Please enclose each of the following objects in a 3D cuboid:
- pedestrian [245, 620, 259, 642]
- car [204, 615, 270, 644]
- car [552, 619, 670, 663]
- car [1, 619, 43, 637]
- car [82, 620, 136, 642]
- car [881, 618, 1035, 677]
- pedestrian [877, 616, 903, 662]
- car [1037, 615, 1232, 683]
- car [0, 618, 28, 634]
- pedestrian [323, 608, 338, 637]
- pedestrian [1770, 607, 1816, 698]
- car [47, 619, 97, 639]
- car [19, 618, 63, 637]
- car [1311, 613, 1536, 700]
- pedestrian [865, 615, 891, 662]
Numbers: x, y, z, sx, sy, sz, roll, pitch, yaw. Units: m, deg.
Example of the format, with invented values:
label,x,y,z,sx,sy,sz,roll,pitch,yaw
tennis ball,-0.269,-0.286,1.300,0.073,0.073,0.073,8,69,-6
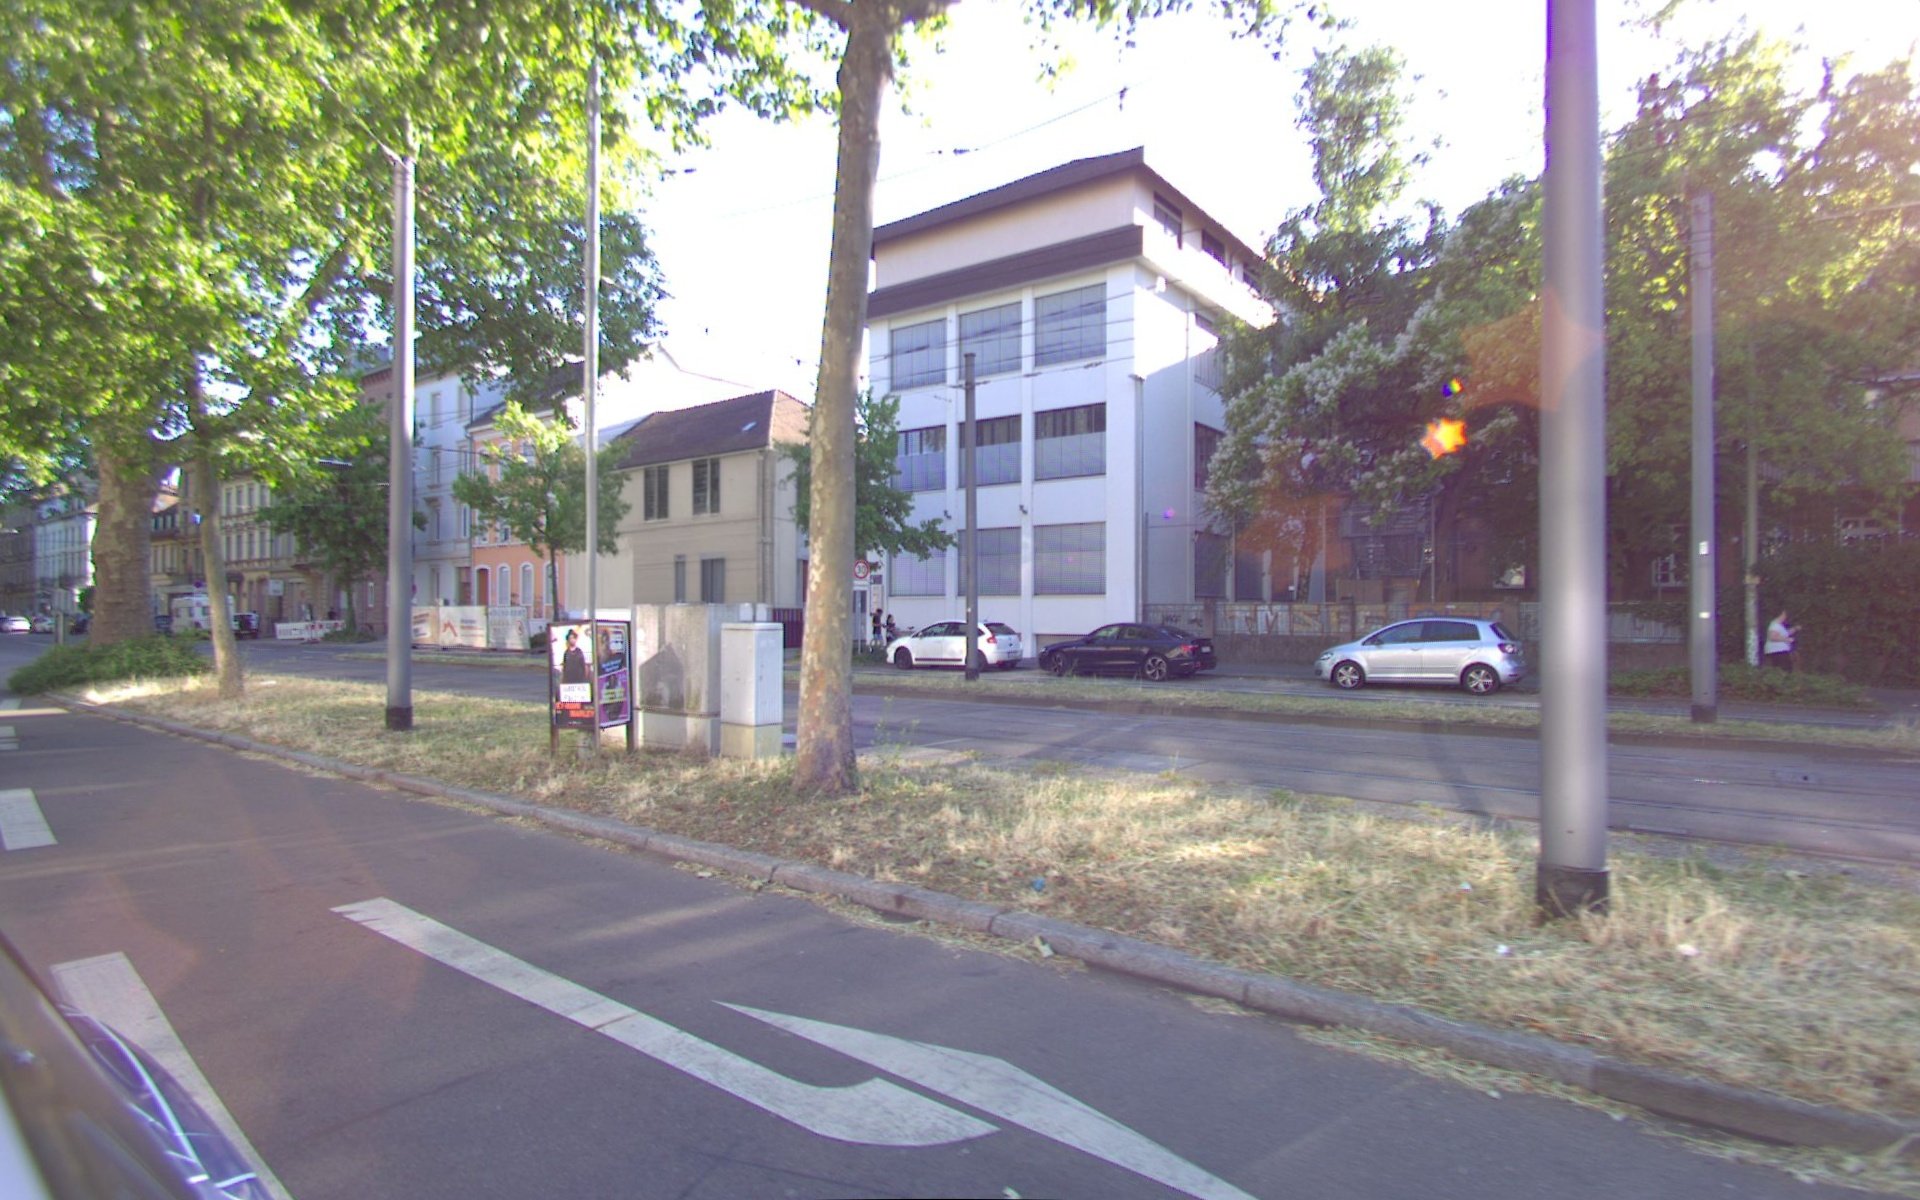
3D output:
label,x,y,z,sx,sy,sz,roll,pitch,yaw
pedestrian,-49.865,2.200,71.283,0.613,1.540,0.634,-1,-2,32
car,-45.926,1.864,64.269,4.523,1.686,2.064,-1,1,35
car,-13.553,1.541,39.223,4.569,1.481,2.064,-1,1,35
car,-87.400,2.575,94.324,4.089,1.551,2.064,-1,1,35
car,-65.119,2.355,77.400,4.507,1.551,2.064,-1,1,35
car,-0.071,1.311,29.173,3.988,1.501,2.064,-1,1,35
pedestrian,-2.399,1.333,34.702,0.710,1.540,0.531,-1,-2,37
car,4.403,1.182,25.796,4.447,1.513,2.064,-1,1,35
car,-94.859,2.581,100.897,4.247,1.551,2.064,-1,1,35
pedestrian,-39.734,1.442,63.841,0.704,1.823,0.555,-1,-2,36
pedestrian,15.819,0.984,19.230,0.630,1.677,0.562,-1,1,36
car,-75.238,2.460,85.708,5.094,1.551,2.064,-1,1,35
car,-82.525,2.467,90.890,4.030,1.551,2.064,-1,1,35
car,9.952,1.138,21.810,4.089,1.631,2.064,-1,1,35
pedestrian,-2.749,1.278,33.974,0.709,1.540,0.532,-1,-2,31
